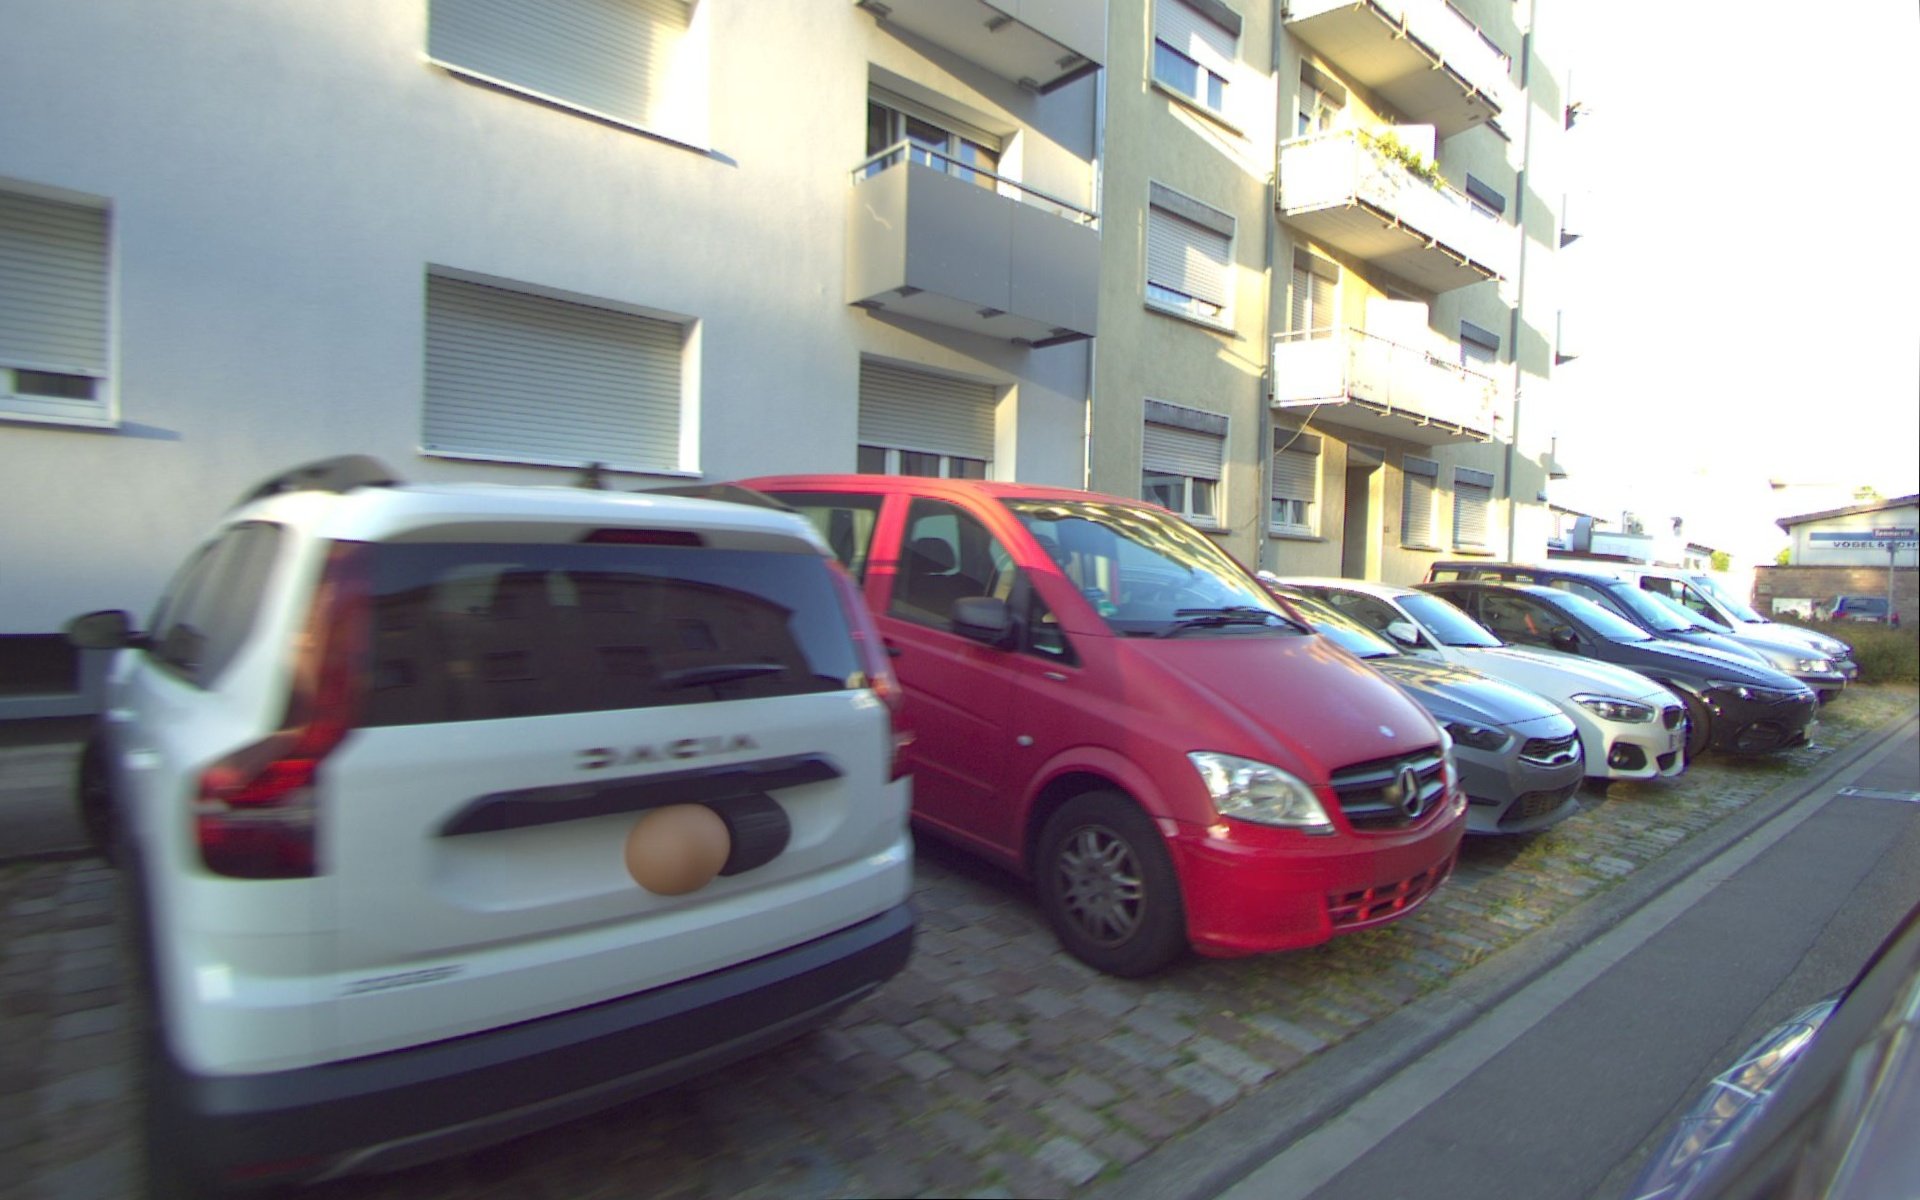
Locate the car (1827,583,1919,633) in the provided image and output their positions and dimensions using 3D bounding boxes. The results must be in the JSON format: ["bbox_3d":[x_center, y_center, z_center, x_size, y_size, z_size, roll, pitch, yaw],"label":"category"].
[{"bbox_3d":[30.035,0.215,33.270,1.989,1.508,4.372,2,2,37],"label":"car"}]

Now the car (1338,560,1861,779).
[{"bbox_3d":[6.186,0.487,10.195,1.963,1.704,3.999,0,2,-37],"label":"car"}]

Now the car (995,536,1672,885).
[{"bbox_3d":[2.213,0.450,7.019,1.961,1.660,4.002,0,2,-34],"label":"car"}]

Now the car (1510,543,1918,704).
[{"bbox_3d":[10.880,0.203,14.922,1.963,1.992,4.430,0,2,-38],"label":"car"}]

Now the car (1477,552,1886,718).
[{"bbox_3d":[9.311,0.308,13.330,1.964,1.816,3.996,0,2,-40],"label":"car"}]

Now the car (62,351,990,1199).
[{"bbox_3d":[-1.923,0.385,3.539,1.755,1.649,3.992,0,2,-43],"label":"car"}]

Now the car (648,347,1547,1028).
[{"bbox_3d":[0.210,0.171,5.443,1.964,2.024,4.684,0,2,-40],"label":"car"}]

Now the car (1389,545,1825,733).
[{"bbox_3d":[7.592,0.306,12.184,1.964,1.860,3.996,0,2,-40],"label":"car"}]

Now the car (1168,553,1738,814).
[{"bbox_3d":[4.035,0.471,8.825,1.964,1.704,3.997,0,2,-39],"label":"car"}]
